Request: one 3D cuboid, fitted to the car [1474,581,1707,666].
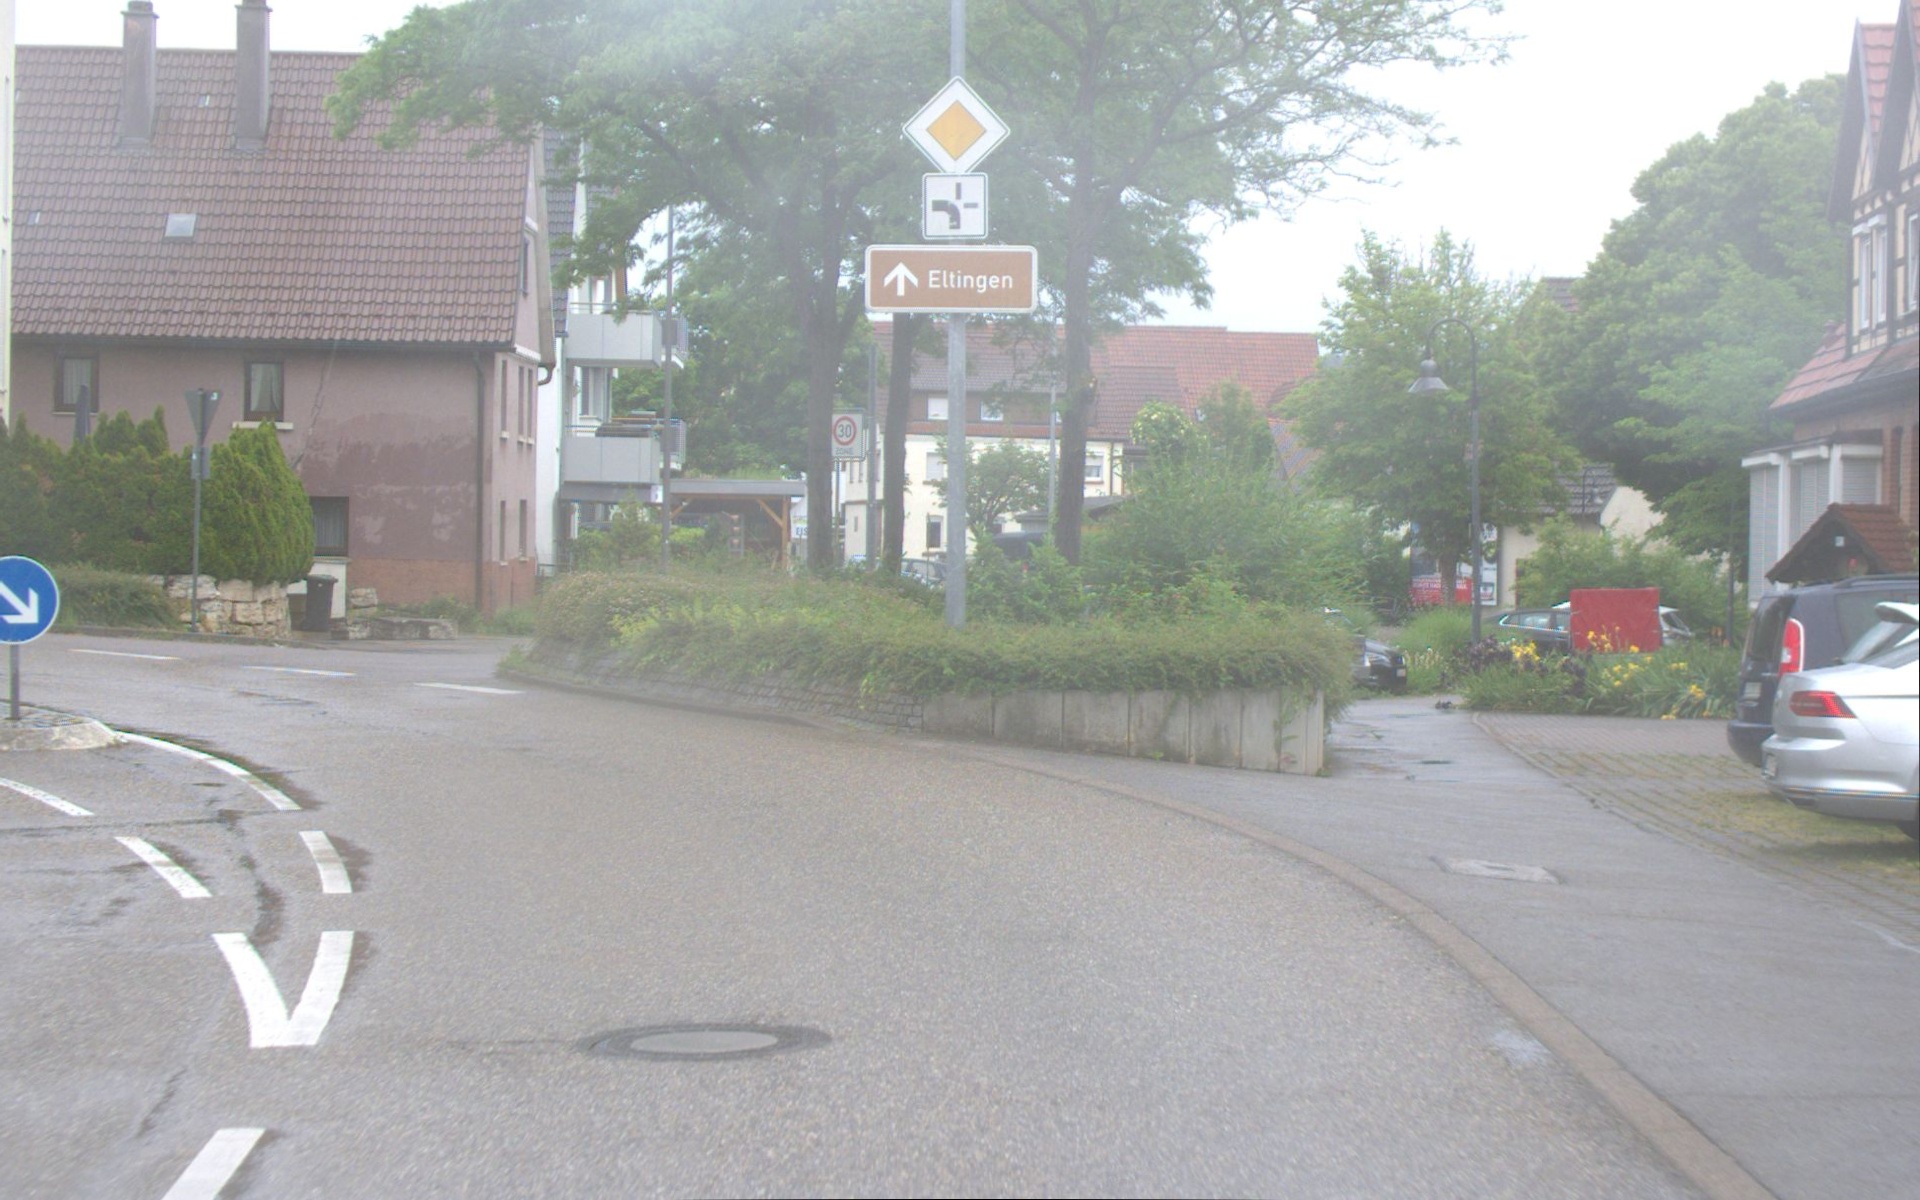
[{"bbox_3d":[13.524,0.500,73.745,4.475,1.546,1.997,3,1,26],"label":"car"}]

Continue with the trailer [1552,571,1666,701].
[{"bbox_3d":[8.922,0.474,47.287,1.408,1.643,2.723,3,1,11],"label":"trailer"}]

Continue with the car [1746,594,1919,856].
[{"bbox_3d":[6.877,0.698,19.338,4.614,1.410,1.820,1,0,7],"label":"car"}]

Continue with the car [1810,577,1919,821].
[{"bbox_3d":[7.479,0.606,22.474,3.420,1.524,1.718,-2,-3,4],"label":"car"}]

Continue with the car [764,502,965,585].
[{"bbox_3d":[-1.948,-1.154,70.542,3.987,1.451,1.946,3,1,-1],"label":"car"}]

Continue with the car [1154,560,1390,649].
[{"bbox_3d":[5.122,0.062,56.318,3.769,1.333,1.714,1,1,7],"label":"car"}]

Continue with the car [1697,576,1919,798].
[{"bbox_3d":[7.627,0.622,25.362,3.987,1.577,1.748,0,-1,0],"label":"car"}]
